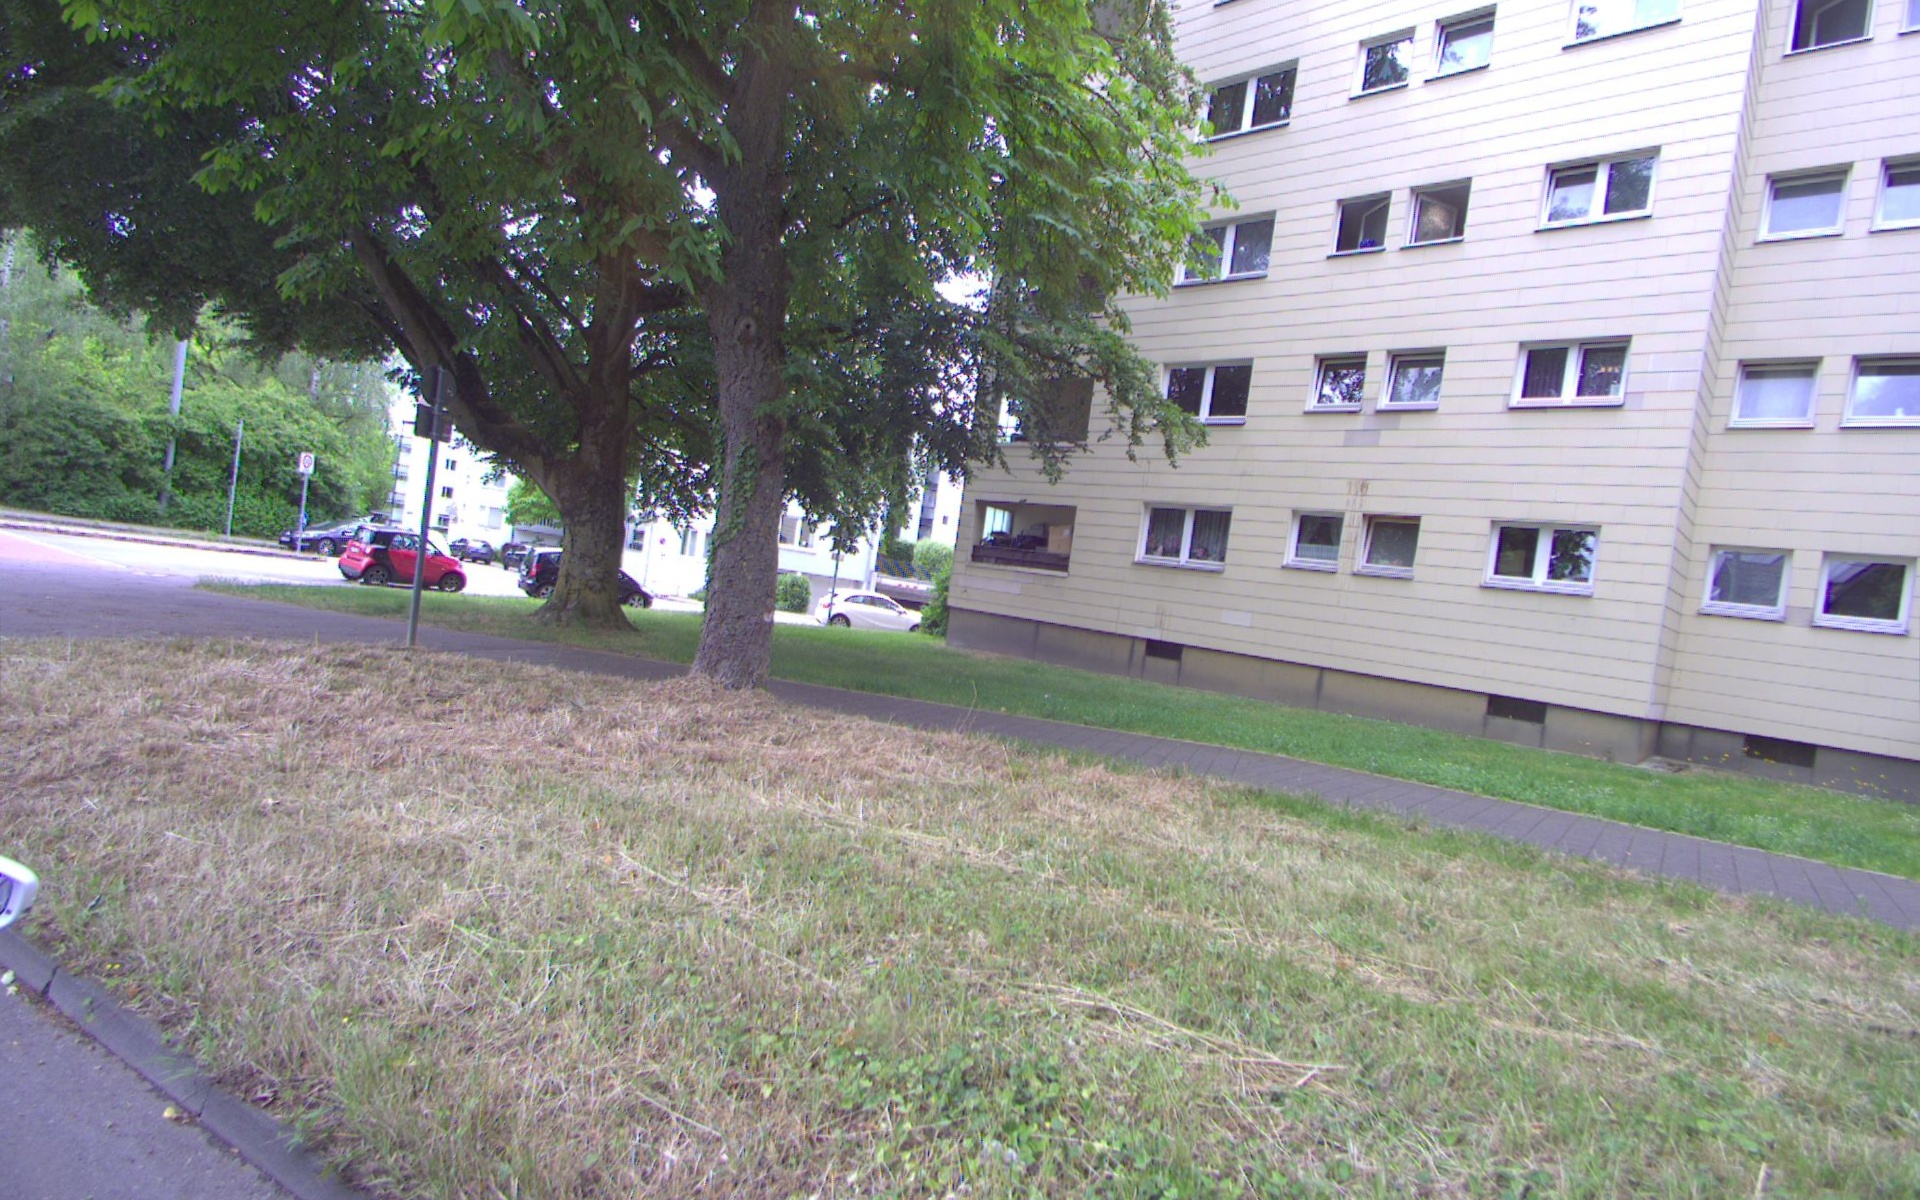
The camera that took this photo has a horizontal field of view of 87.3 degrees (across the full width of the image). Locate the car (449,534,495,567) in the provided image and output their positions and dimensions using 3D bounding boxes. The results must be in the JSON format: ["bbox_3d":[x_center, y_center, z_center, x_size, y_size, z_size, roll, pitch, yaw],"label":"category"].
[{"bbox_3d":[-30.121,-3.079,62.024,1.713,1.631,3.813,6,1,-38],"label":"car"}]

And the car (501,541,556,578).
[{"bbox_3d":[-23.196,-2.203,54.071,1.713,1.631,3.813,6,1,-38],"label":"car"}]

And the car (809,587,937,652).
[{"bbox_3d":[-2.895,0.630,33.309,3.796,1.631,1.721,7,1,-18],"label":"car"}]

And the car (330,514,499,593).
[{"bbox_3d":[-14.538,-1.212,26.947,1.702,1.631,3.516,8,1,37],"label":"car"}]

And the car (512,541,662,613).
[{"bbox_3d":[-11.067,-0.678,29.921,3.814,1.631,1.713,7,1,-33],"label":"car"}]

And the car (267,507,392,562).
[{"bbox_3d":[-23.411,-2.410,37.431,1.702,1.549,3.515,8,1,38],"label":"car"}]

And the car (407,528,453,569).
[{"bbox_3d":[-24.886,-2.447,47.183,1.709,1.631,3.823,6,1,-30],"label":"car"}]
